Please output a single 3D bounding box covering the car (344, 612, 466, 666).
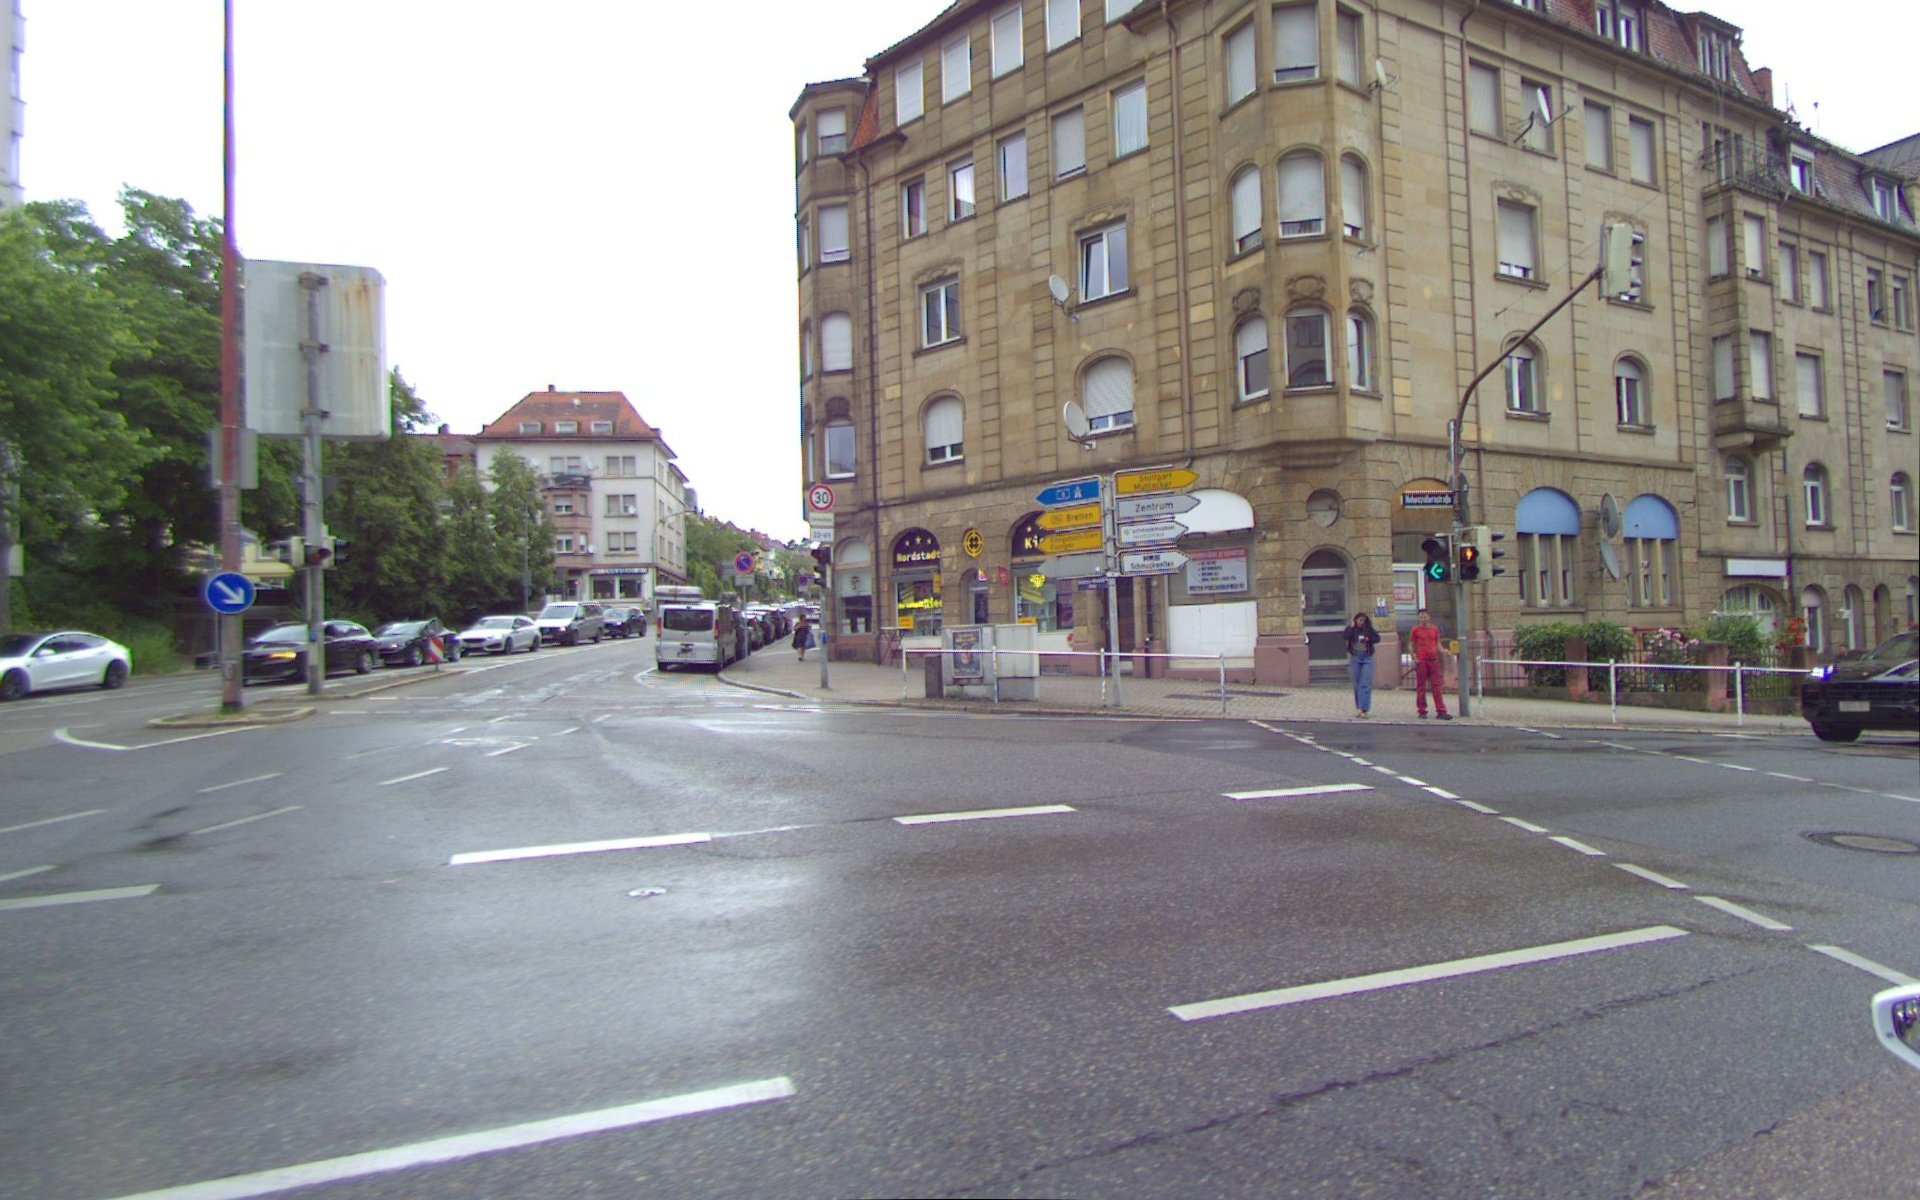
[{"bbox_3d":[-16.922,1.158,30.825,1.733,1.511,4.022,-1,-1,-4],"label":"car"}]

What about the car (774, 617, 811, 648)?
[{"bbox_3d":[-9.964,1.933,59.918,1.963,1.726,4.211,1,-1,-7],"label":"car"}]

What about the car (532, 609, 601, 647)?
[{"bbox_3d":[-17.663,1.276,45.288,1.705,1.558,4.152,2,-2,-4],"label":"car"}]

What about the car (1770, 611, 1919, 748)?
[{"bbox_3d":[14.068,1.130,14.113,4.732,1.715,1.964,3,-3,-18],"label":"car"}]

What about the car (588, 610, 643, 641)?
[{"bbox_3d":[-18.172,1.339,53.149,1.705,1.558,4.152,-1,-1,-4],"label":"car"}]

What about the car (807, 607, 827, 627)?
[{"bbox_3d":[-12.718,1.492,89.504,1.666,1.726,4.211,1,-1,-7],"label":"car"}]

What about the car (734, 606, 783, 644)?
[{"bbox_3d":[-9.627,1.215,48.296,1.963,1.726,4.211,1,-1,-7],"label":"car"}]

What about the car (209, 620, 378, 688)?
[{"bbox_3d":[-16.380,1.266,24.960,1.733,1.511,4.022,-1,-1,-4],"label":"car"}]

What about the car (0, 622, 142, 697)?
[{"bbox_3d":[-20.876,1.273,22.393,1.877,1.511,4.391,1,-1,-4],"label":"car"}]

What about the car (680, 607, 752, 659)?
[{"bbox_3d":[-8.640,1.158,35.861,1.963,1.726,4.377,1,-1,-7],"label":"car"}]

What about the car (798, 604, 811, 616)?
[{"bbox_3d":[-23.171,1.553,149.849,1.666,1.726,4.211,1,-1,-7],"label":"car"}]

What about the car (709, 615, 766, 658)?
[{"bbox_3d":[-9.399,1.520,42.753,1.963,1.727,4.211,0,-1,-7],"label":"car"}]

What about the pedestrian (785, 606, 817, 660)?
[{"bbox_3d":[-5.043,1.034,31.902,0.775,1.683,0.664,1,-1,-32],"label":"pedestrian"}]

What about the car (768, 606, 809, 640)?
[{"bbox_3d":[-9.302,1.264,54.636,1.963,1.726,4.211,1,-1,-7],"label":"car"}]

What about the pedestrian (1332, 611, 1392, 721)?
[{"bbox_3d":[6.500,1.048,16.283,0.812,1.724,0.639,1,-1,14],"label":"pedestrian"}]

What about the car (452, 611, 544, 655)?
[{"bbox_3d":[-17.348,1.215,37.933,1.705,1.558,4.300,-1,-1,-4],"label":"car"}]

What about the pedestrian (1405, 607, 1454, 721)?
[{"bbox_3d":[7.594,1.013,16.239,0.681,1.797,0.523,0,-1,30],"label":"pedestrian"}]

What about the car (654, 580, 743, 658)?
[{"bbox_3d":[-7.943,0.599,30.931,1.963,2.197,4.799,1,-1,-7],"label":"car"}]
